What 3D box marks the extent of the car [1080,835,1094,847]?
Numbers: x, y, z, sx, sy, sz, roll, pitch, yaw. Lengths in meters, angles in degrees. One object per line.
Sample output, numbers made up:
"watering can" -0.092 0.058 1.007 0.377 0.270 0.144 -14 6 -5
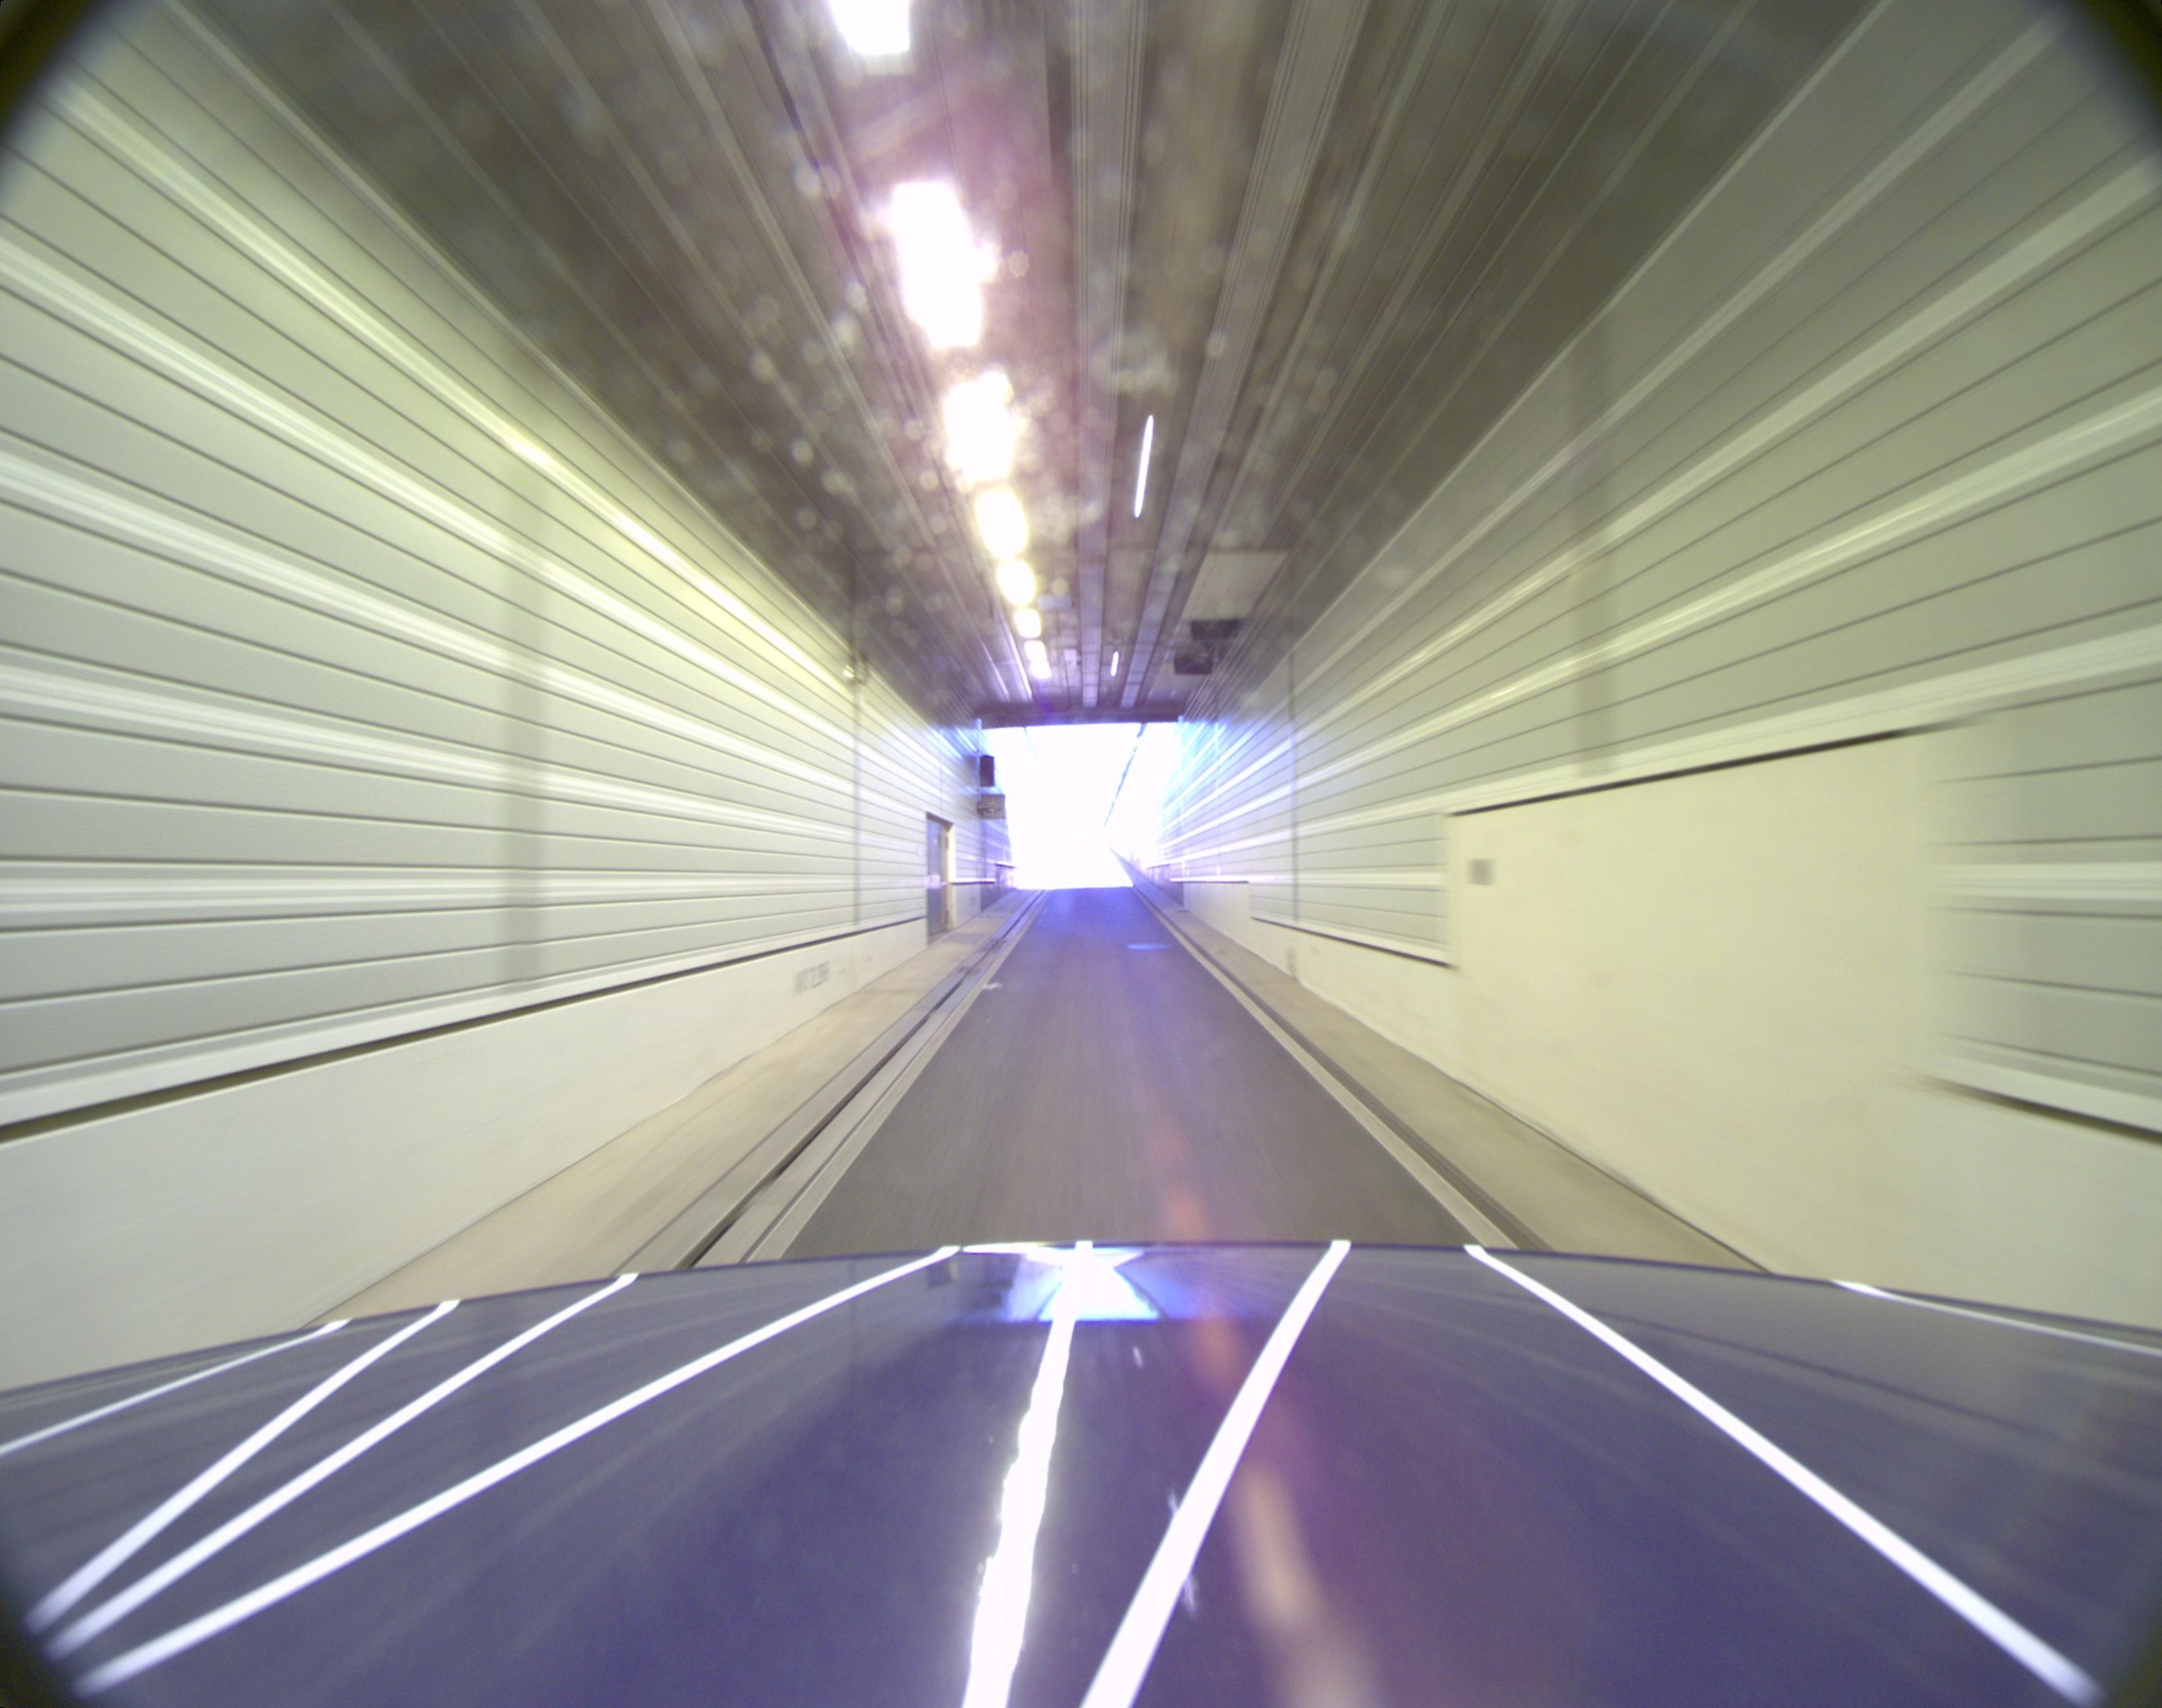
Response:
"car" 0.806 -1.686 100.233 1.829 1.328 4.001 -1 -2 1
